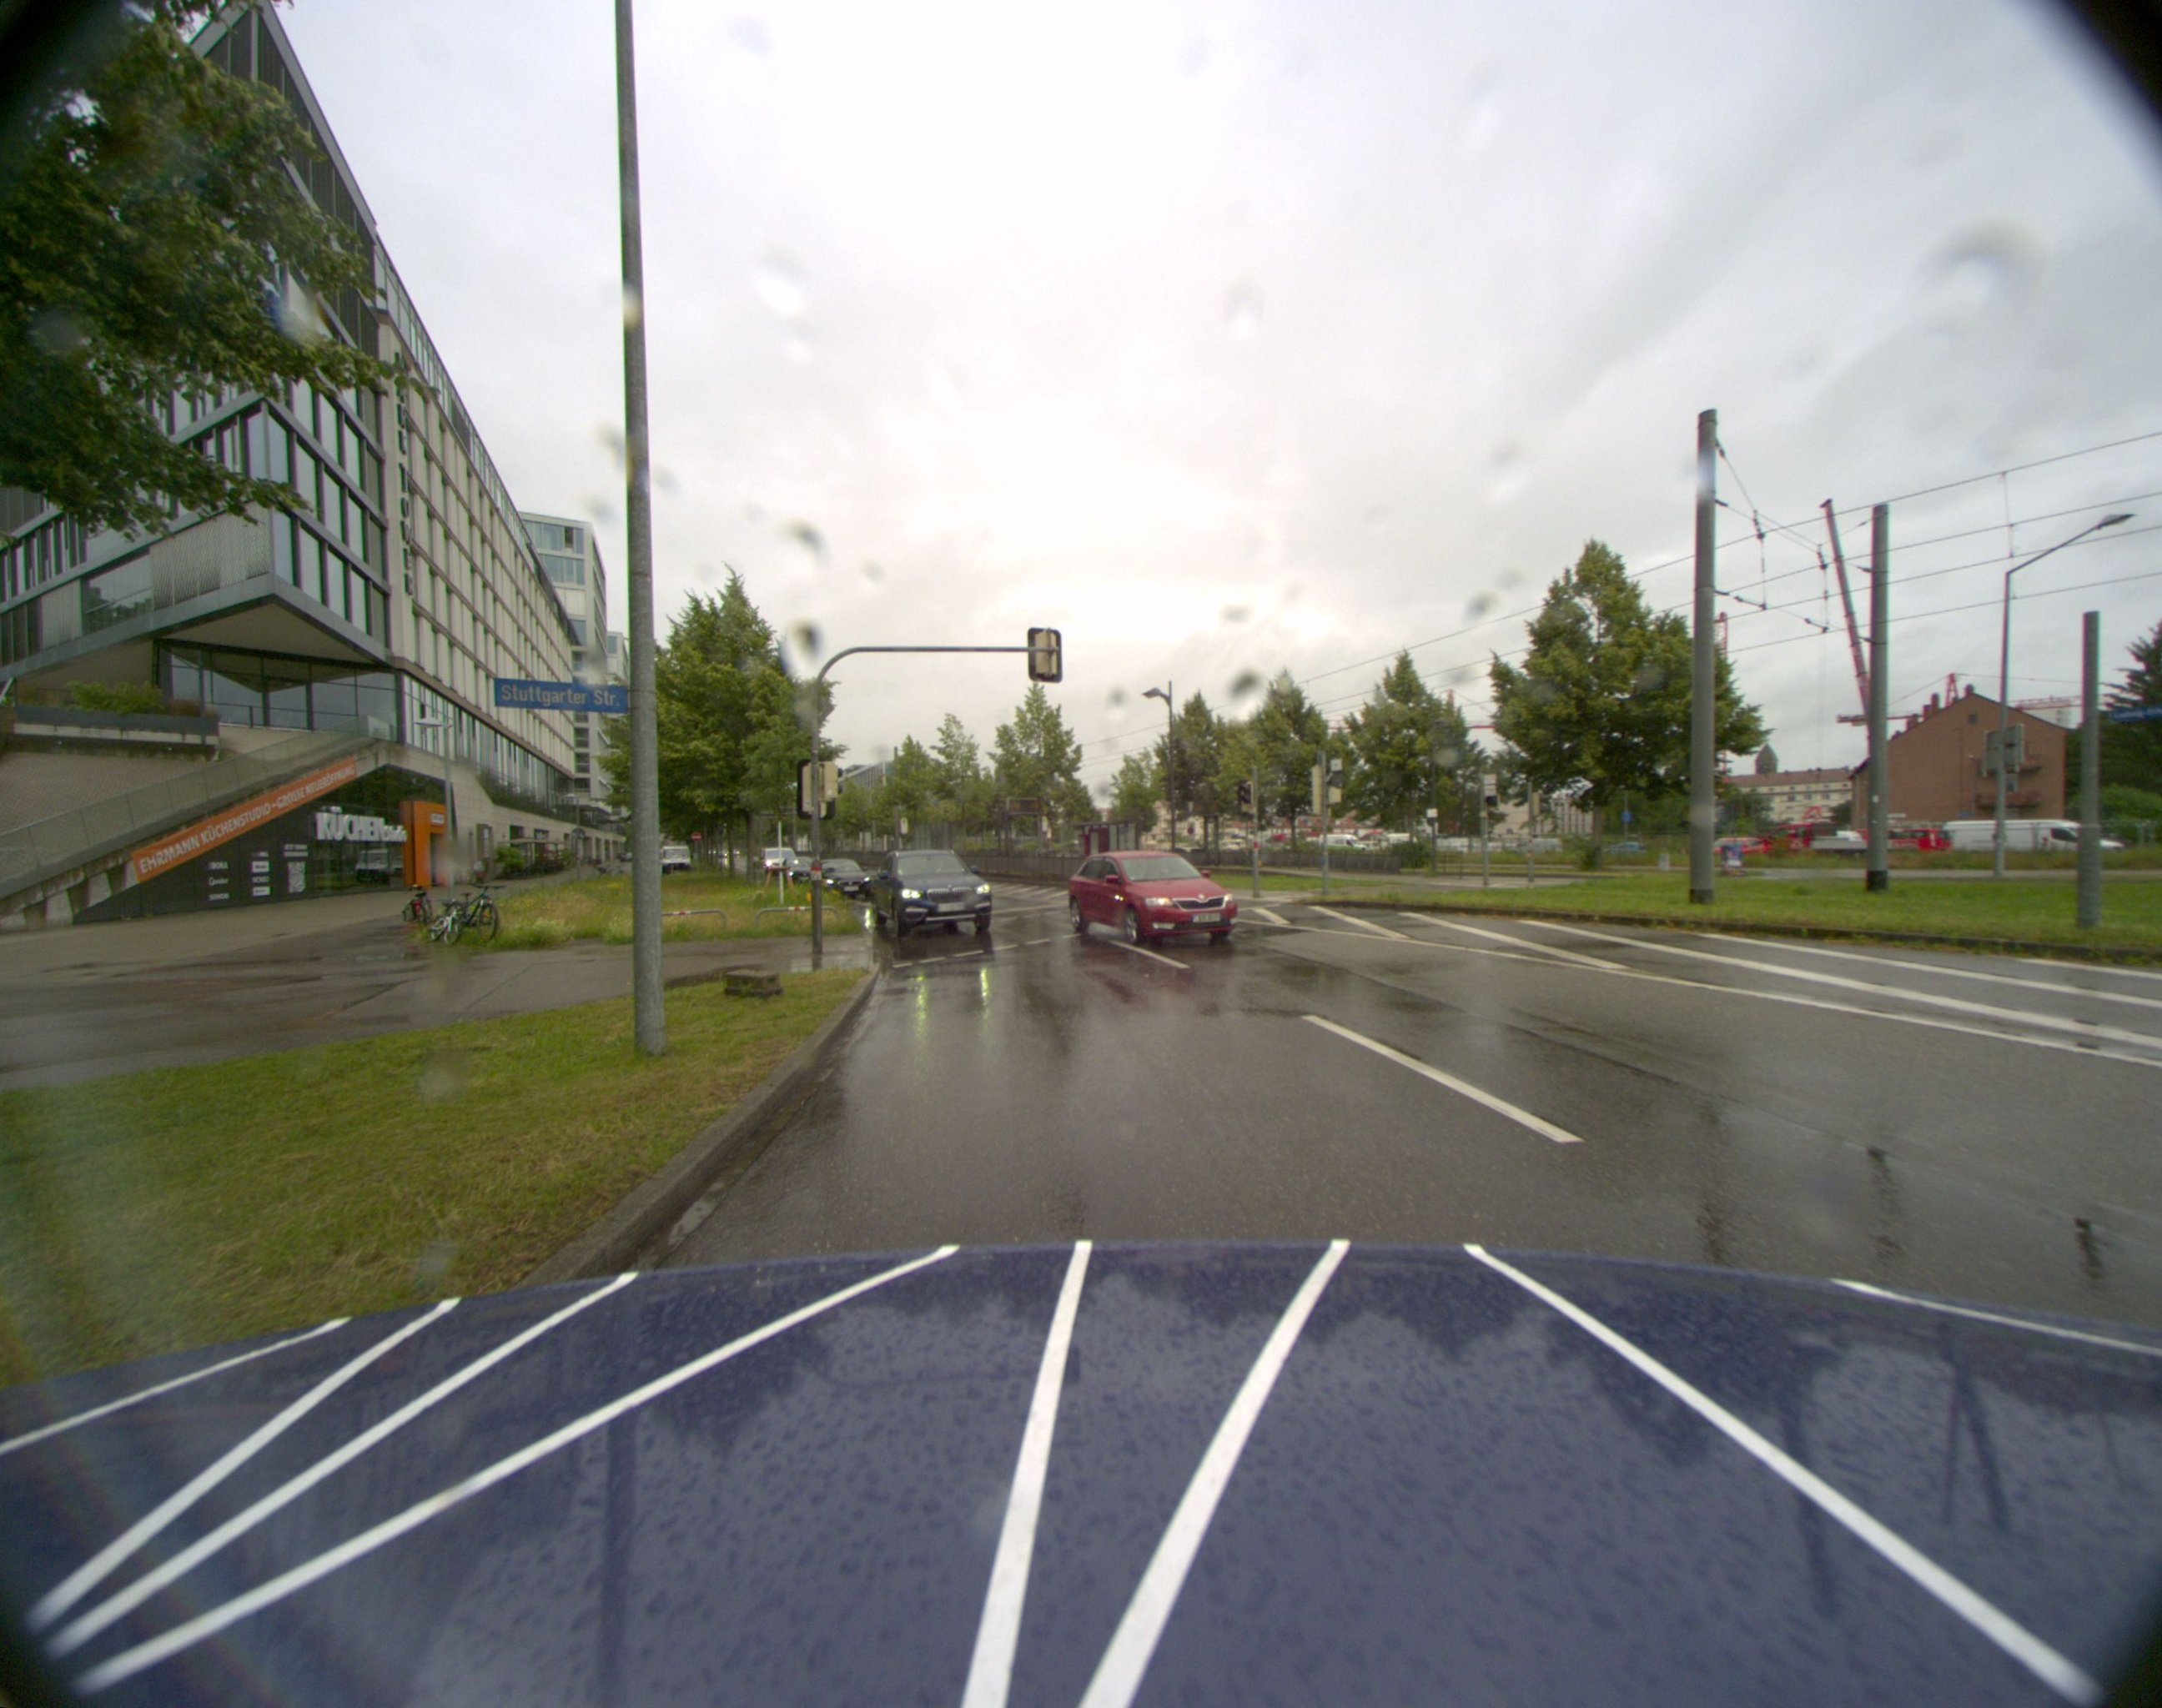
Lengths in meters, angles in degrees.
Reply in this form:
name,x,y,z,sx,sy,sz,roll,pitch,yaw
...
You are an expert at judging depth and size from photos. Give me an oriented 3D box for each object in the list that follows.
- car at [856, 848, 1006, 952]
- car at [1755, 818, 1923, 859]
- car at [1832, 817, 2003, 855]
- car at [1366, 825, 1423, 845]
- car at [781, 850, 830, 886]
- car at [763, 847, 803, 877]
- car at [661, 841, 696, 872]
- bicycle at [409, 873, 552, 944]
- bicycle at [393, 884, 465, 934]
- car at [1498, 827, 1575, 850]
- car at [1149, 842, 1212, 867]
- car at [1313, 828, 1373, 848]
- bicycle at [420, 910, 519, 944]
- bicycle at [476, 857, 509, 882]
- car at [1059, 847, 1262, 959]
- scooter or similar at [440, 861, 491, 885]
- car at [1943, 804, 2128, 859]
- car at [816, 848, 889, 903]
name,x,y,z,sx,sy,sz,roll,pitch,yaw
car,-3.314,0.809,16.032,1.920,1.737,4.373,-4,3,-26
car,42.626,-0.885,43.020,2.358,2.003,6.417,-4,2,-16
car,49.208,-1.022,44.971,2.358,2.002,6.418,-2,1,-16
car,41.015,-2.437,99.654,2.504,2.463,6.819,-4,3,-30
car,-14.044,0.657,38.641,1.791,1.639,3.991,-4,3,-26
car,-18.207,0.467,46.337,1.791,1.639,3.991,-4,3,-26
car,-31.092,0.164,58.778,2.088,2.190,5.085,-4,3,-26
bicycle,-10.663,0.967,13.494,2.520,1.182,0.554,-1,1,15
bicycle,-13.007,1.069,15.218,0.637,0.842,2.159,-2,1,-29
car,50.260,-1.680,83.987,2.361,2.462,6.817,-2,2,-40
car,6.444,-0.006,49.498,1.854,1.478,4.215,-4,3,-29
car,34.025,-2.045,98.888,2.360,2.463,7.620,-4,3,-30
bicycle,-10.654,1.271,13.238,1.799,0.555,0.321,-1,1,15
bicycle,-33.840,0.875,43.709,0.884,1.340,2.691,-4,3,-26
car,1.133,0.672,13.049,1.790,1.451,4.307,-4,2,-18
scooter or similar,-32.715,0.981,40.440,0.812,1.093,2.611,-3,2,-9
car,56.498,-1.328,45.246,2.358,2.923,6.417,-4,2,-16
car,-8.547,0.709,28.166,1.920,1.737,4.373,-4,2,-24
